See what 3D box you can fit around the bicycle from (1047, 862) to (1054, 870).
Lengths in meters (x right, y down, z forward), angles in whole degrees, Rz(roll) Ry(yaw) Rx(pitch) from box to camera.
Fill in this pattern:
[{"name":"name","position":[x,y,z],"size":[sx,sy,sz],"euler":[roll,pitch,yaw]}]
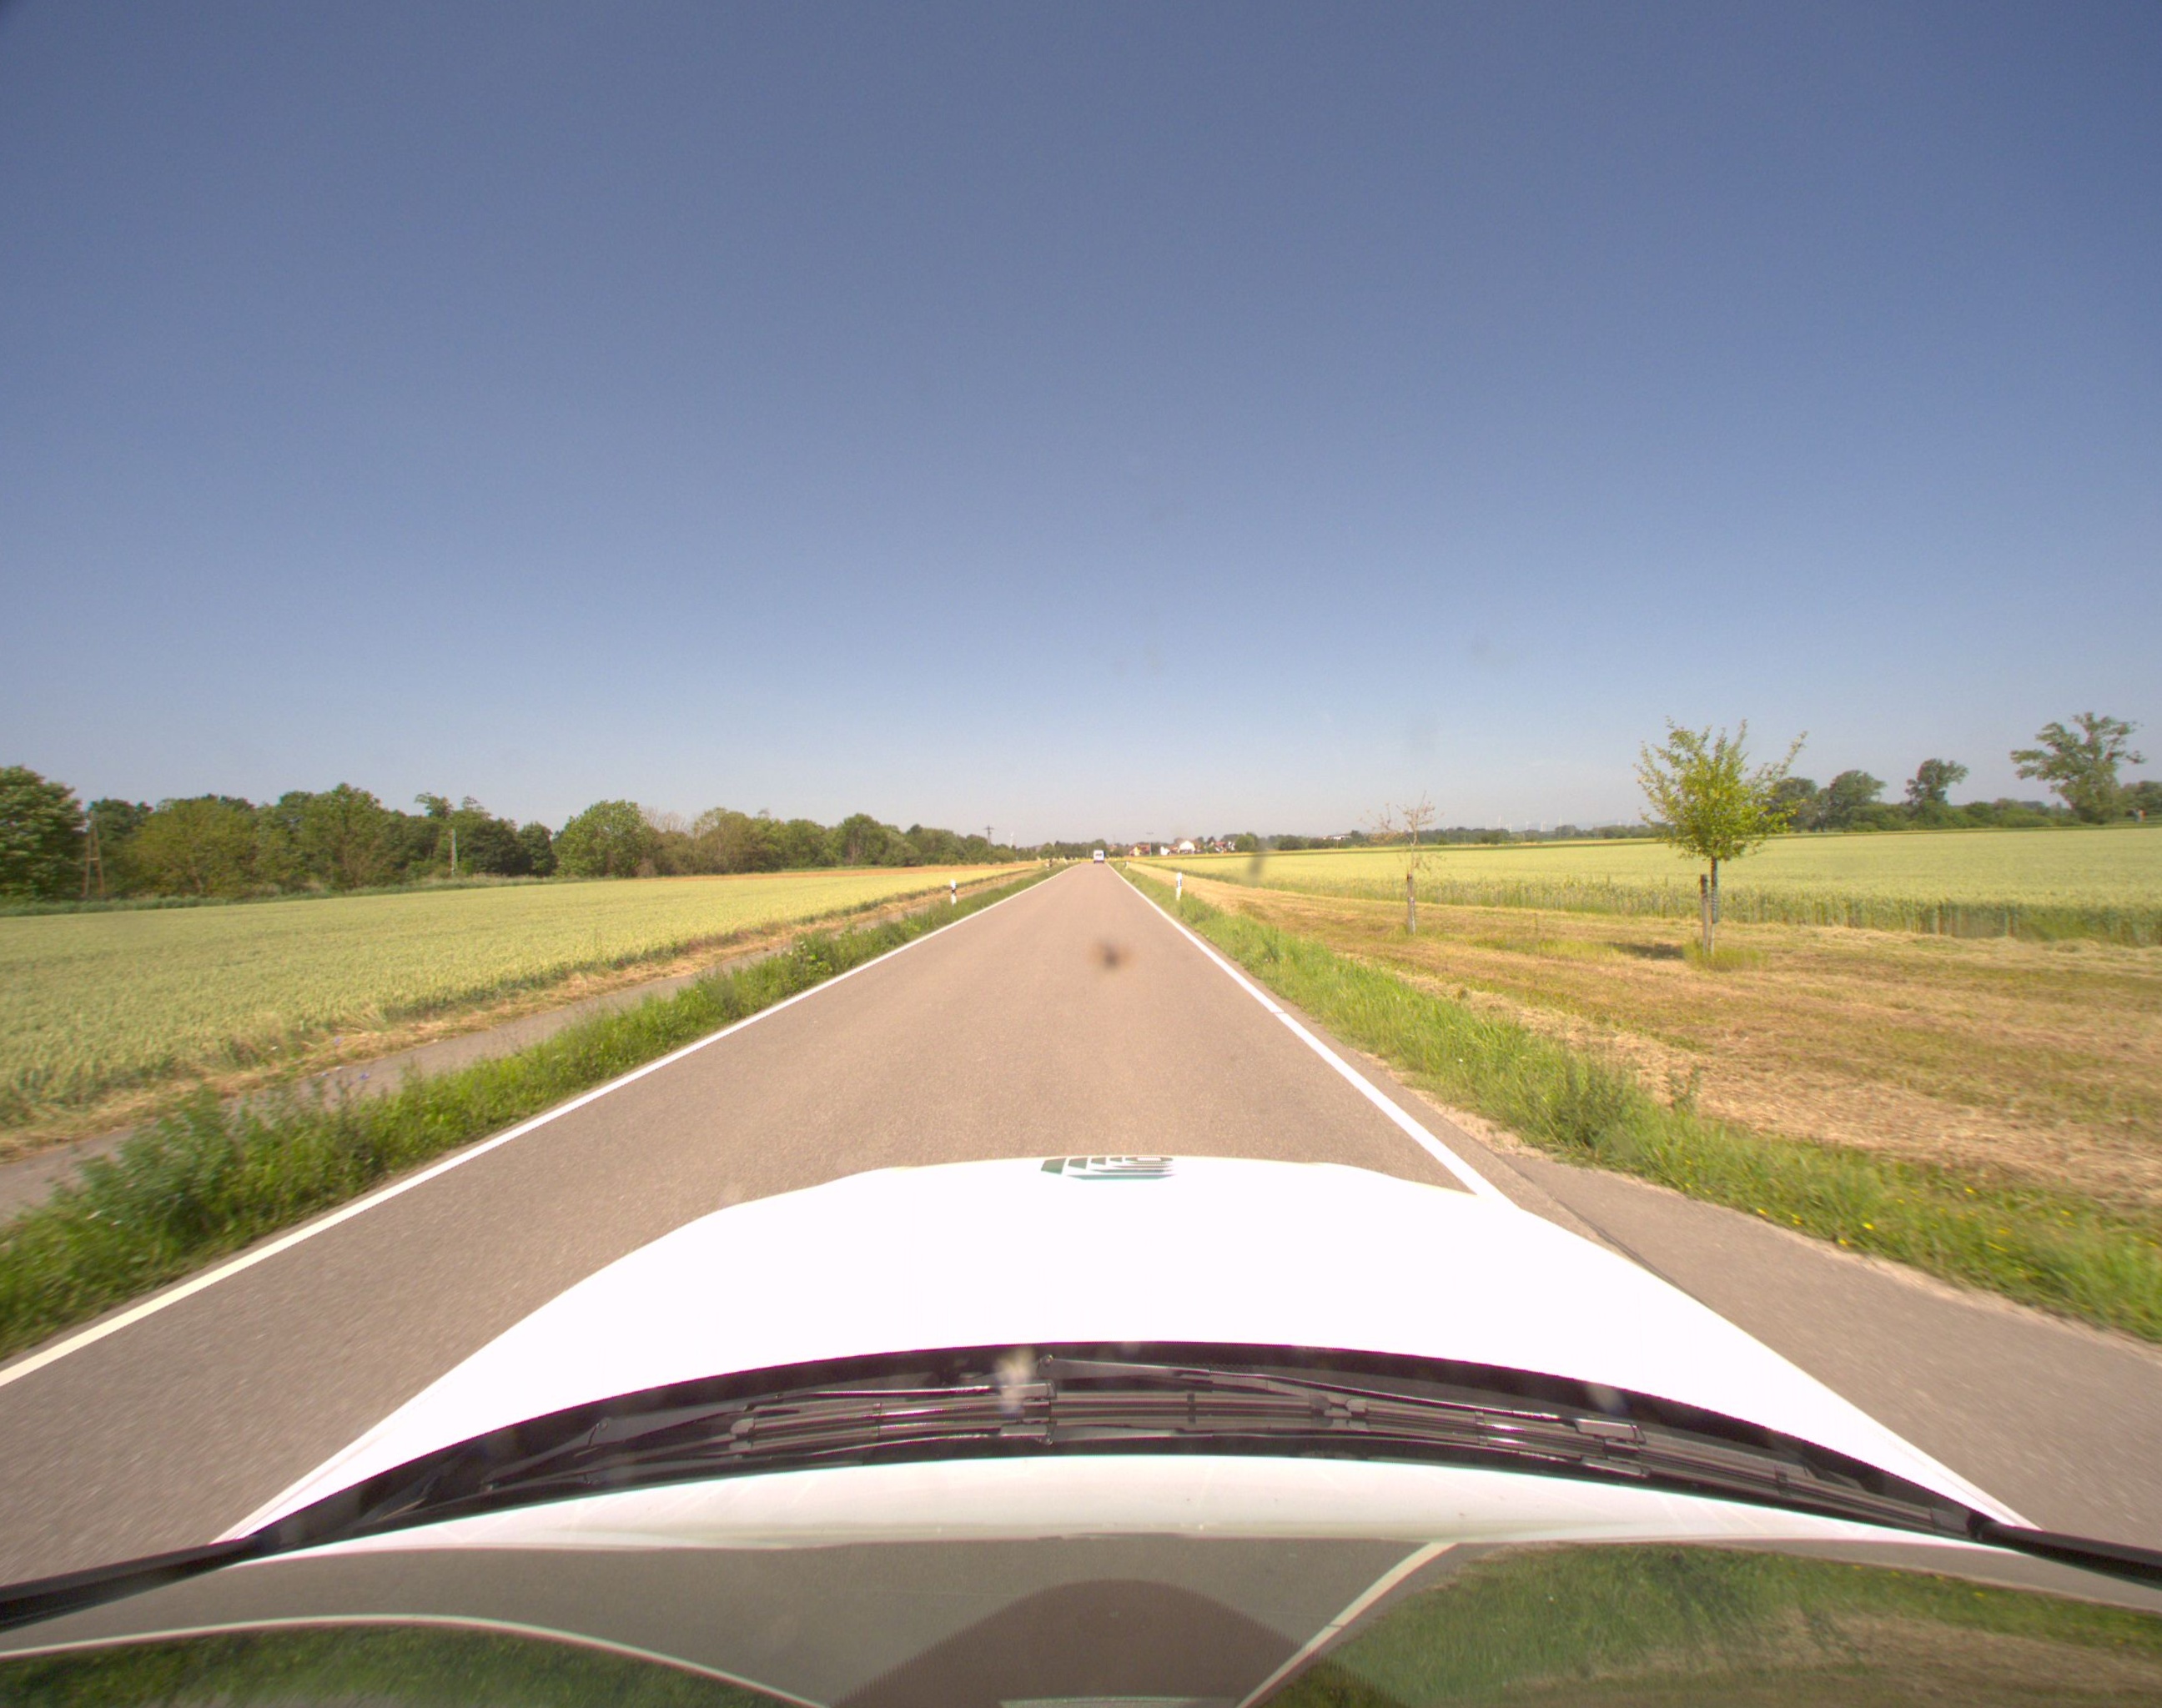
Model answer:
[{"name":"bicycle","position":[-4.731,1.829,125.860],"size":[0.756,1.236,2.394],"euler":[-4,0,1]}]

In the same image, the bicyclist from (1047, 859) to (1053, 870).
[{"name":"bicyclist","position":[-4.721,1.642,125.887],"size":[0.757,1.672,1.089],"euler":[-3,-1,1]}]

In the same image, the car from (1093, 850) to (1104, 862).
[{"name":"car","position":[3.359,0.405,158.990],"size":[2.100,2.304,5.496],"euler":[0,0,1]}]
